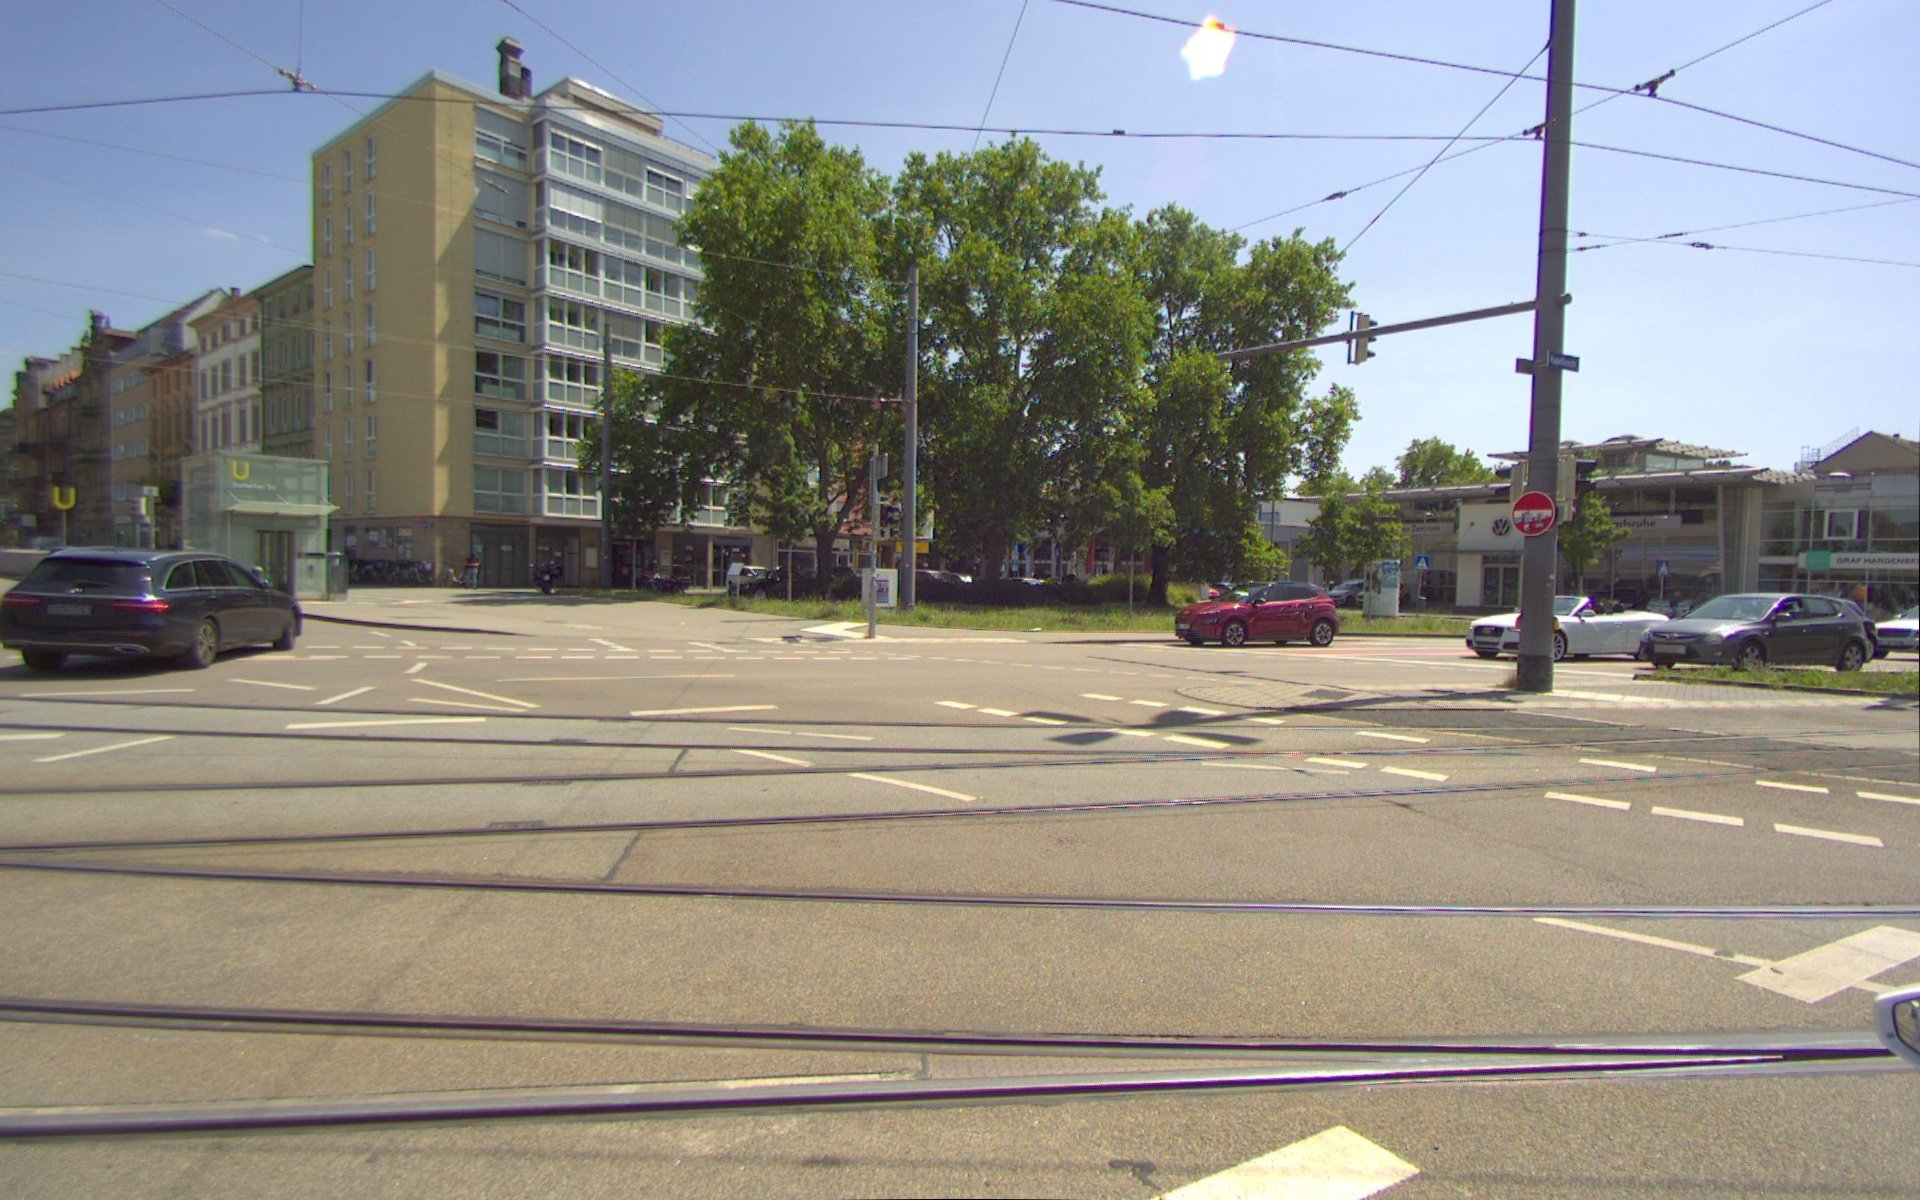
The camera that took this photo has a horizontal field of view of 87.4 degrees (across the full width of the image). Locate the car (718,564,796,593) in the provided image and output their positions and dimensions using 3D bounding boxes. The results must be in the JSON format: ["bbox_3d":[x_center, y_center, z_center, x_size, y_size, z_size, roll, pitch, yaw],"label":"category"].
[{"bbox_3d":[-11.107,-1.185,54.957,3.931,1.439,1.995,2,2,33],"label":"car"}]

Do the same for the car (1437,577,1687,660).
[{"bbox_3d":[12.948,0.363,21.635,4.773,1.601,2.073,1,2,-20],"label":"car"}]

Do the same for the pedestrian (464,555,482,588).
[{"bbox_3d":[-22.203,-1.282,45.816,0.678,1.506,0.301,-1,3,-44],"label":"pedestrian"}]

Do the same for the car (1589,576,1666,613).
[{"bbox_3d":[35.089,-0.281,52.770,3.958,1.730,1.909,1,4,-33],"label":"car"}]

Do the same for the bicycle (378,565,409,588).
[{"bbox_3d":[-26.589,-1.121,47.138,0.424,1.040,1.444,2,2,12],"label":"bicycle"}]

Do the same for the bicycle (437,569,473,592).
[{"bbox_3d":[-23.386,-0.911,46.517,0.426,1.040,1.437,3,3,40],"label":"bicycle"}]

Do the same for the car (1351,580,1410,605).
[{"bbox_3d":[27.700,-0.502,66.132,4.288,1.530,1.753,0,2,-39],"label":"car"}]

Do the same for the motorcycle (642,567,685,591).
[{"bbox_3d":[-12.629,-0.895,42.787,1.885,0.974,0.525,2,2,27],"label":"motorcycle"}]

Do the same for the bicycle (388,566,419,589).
[{"bbox_3d":[-25.811,-1.051,46.616,0.424,1.040,1.444,2,2,12],"label":"bicycle"}]

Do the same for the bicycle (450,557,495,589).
[{"bbox_3d":[-22.228,-1.245,45.798,0.597,1.136,1.596,3,-8,44],"label":"bicycle"}]

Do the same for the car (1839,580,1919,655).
[{"bbox_3d":[24.941,0.444,25.395,4.469,1.763,1.992,1,2,-17],"label":"car"}]

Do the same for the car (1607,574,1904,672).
[{"bbox_3d":[14.988,0.402,18.978,4.767,1.659,1.992,1,2,-17],"label":"car"}]

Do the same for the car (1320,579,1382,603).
[{"bbox_3d":[26.762,-0.601,68.663,4.280,1.530,1.756,0,2,-33],"label":"car"}]

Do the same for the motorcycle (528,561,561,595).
[{"bbox_3d":[-15.674,-0.859,37.968,0.950,1.239,2.800,0,2,-18],"label":"motorcycle"}]

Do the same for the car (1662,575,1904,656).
[{"bbox_3d":[19.057,0.335,23.311,4.767,1.723,1.992,1,2,-17],"label":"car"}]

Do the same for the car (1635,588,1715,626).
[{"bbox_3d":[36.351,0.345,51.037,3.958,1.730,1.909,1,4,-33],"label":"car"}]

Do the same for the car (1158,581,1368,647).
[{"bbox_3d":[7.539,0.333,25.046,4.773,1.485,1.990,1,2,-20],"label":"car"}]

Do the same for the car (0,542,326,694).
[{"bbox_3d":[-10.599,0.093,13.747,1.772,1.662,4.790,1,3,-13],"label":"car"}]

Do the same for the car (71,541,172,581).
[{"bbox_3d":[-39.615,-1.842,47.598,1.804,1.773,3.994,1,2,-8],"label":"car"}]

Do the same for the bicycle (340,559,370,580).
[{"bbox_3d":[-30.514,-1.521,50.695,0.424,1.040,1.444,2,2,12],"label":"bicycle"}]

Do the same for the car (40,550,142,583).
[{"bbox_3d":[-41.885,-1.620,48.541,1.804,1.530,3.994,1,2,-8],"label":"car"}]

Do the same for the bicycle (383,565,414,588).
[{"bbox_3d":[-26.196,-1.084,46.854,0.424,1.040,1.444,2,2,12],"label":"bicycle"}]

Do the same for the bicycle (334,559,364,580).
[{"bbox_3d":[-30.974,-1.560,50.959,0.424,1.040,1.444,2,2,12],"label":"bicycle"}]

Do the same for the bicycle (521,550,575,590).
[{"bbox_3d":[-19.203,-1.395,46.778,2.846,1.791,1.095,3,3,40],"label":"bicycle"}]

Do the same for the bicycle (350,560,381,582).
[{"bbox_3d":[-29.641,-1.442,50.100,0.424,1.040,1.444,2,2,12],"label":"bicycle"}]
